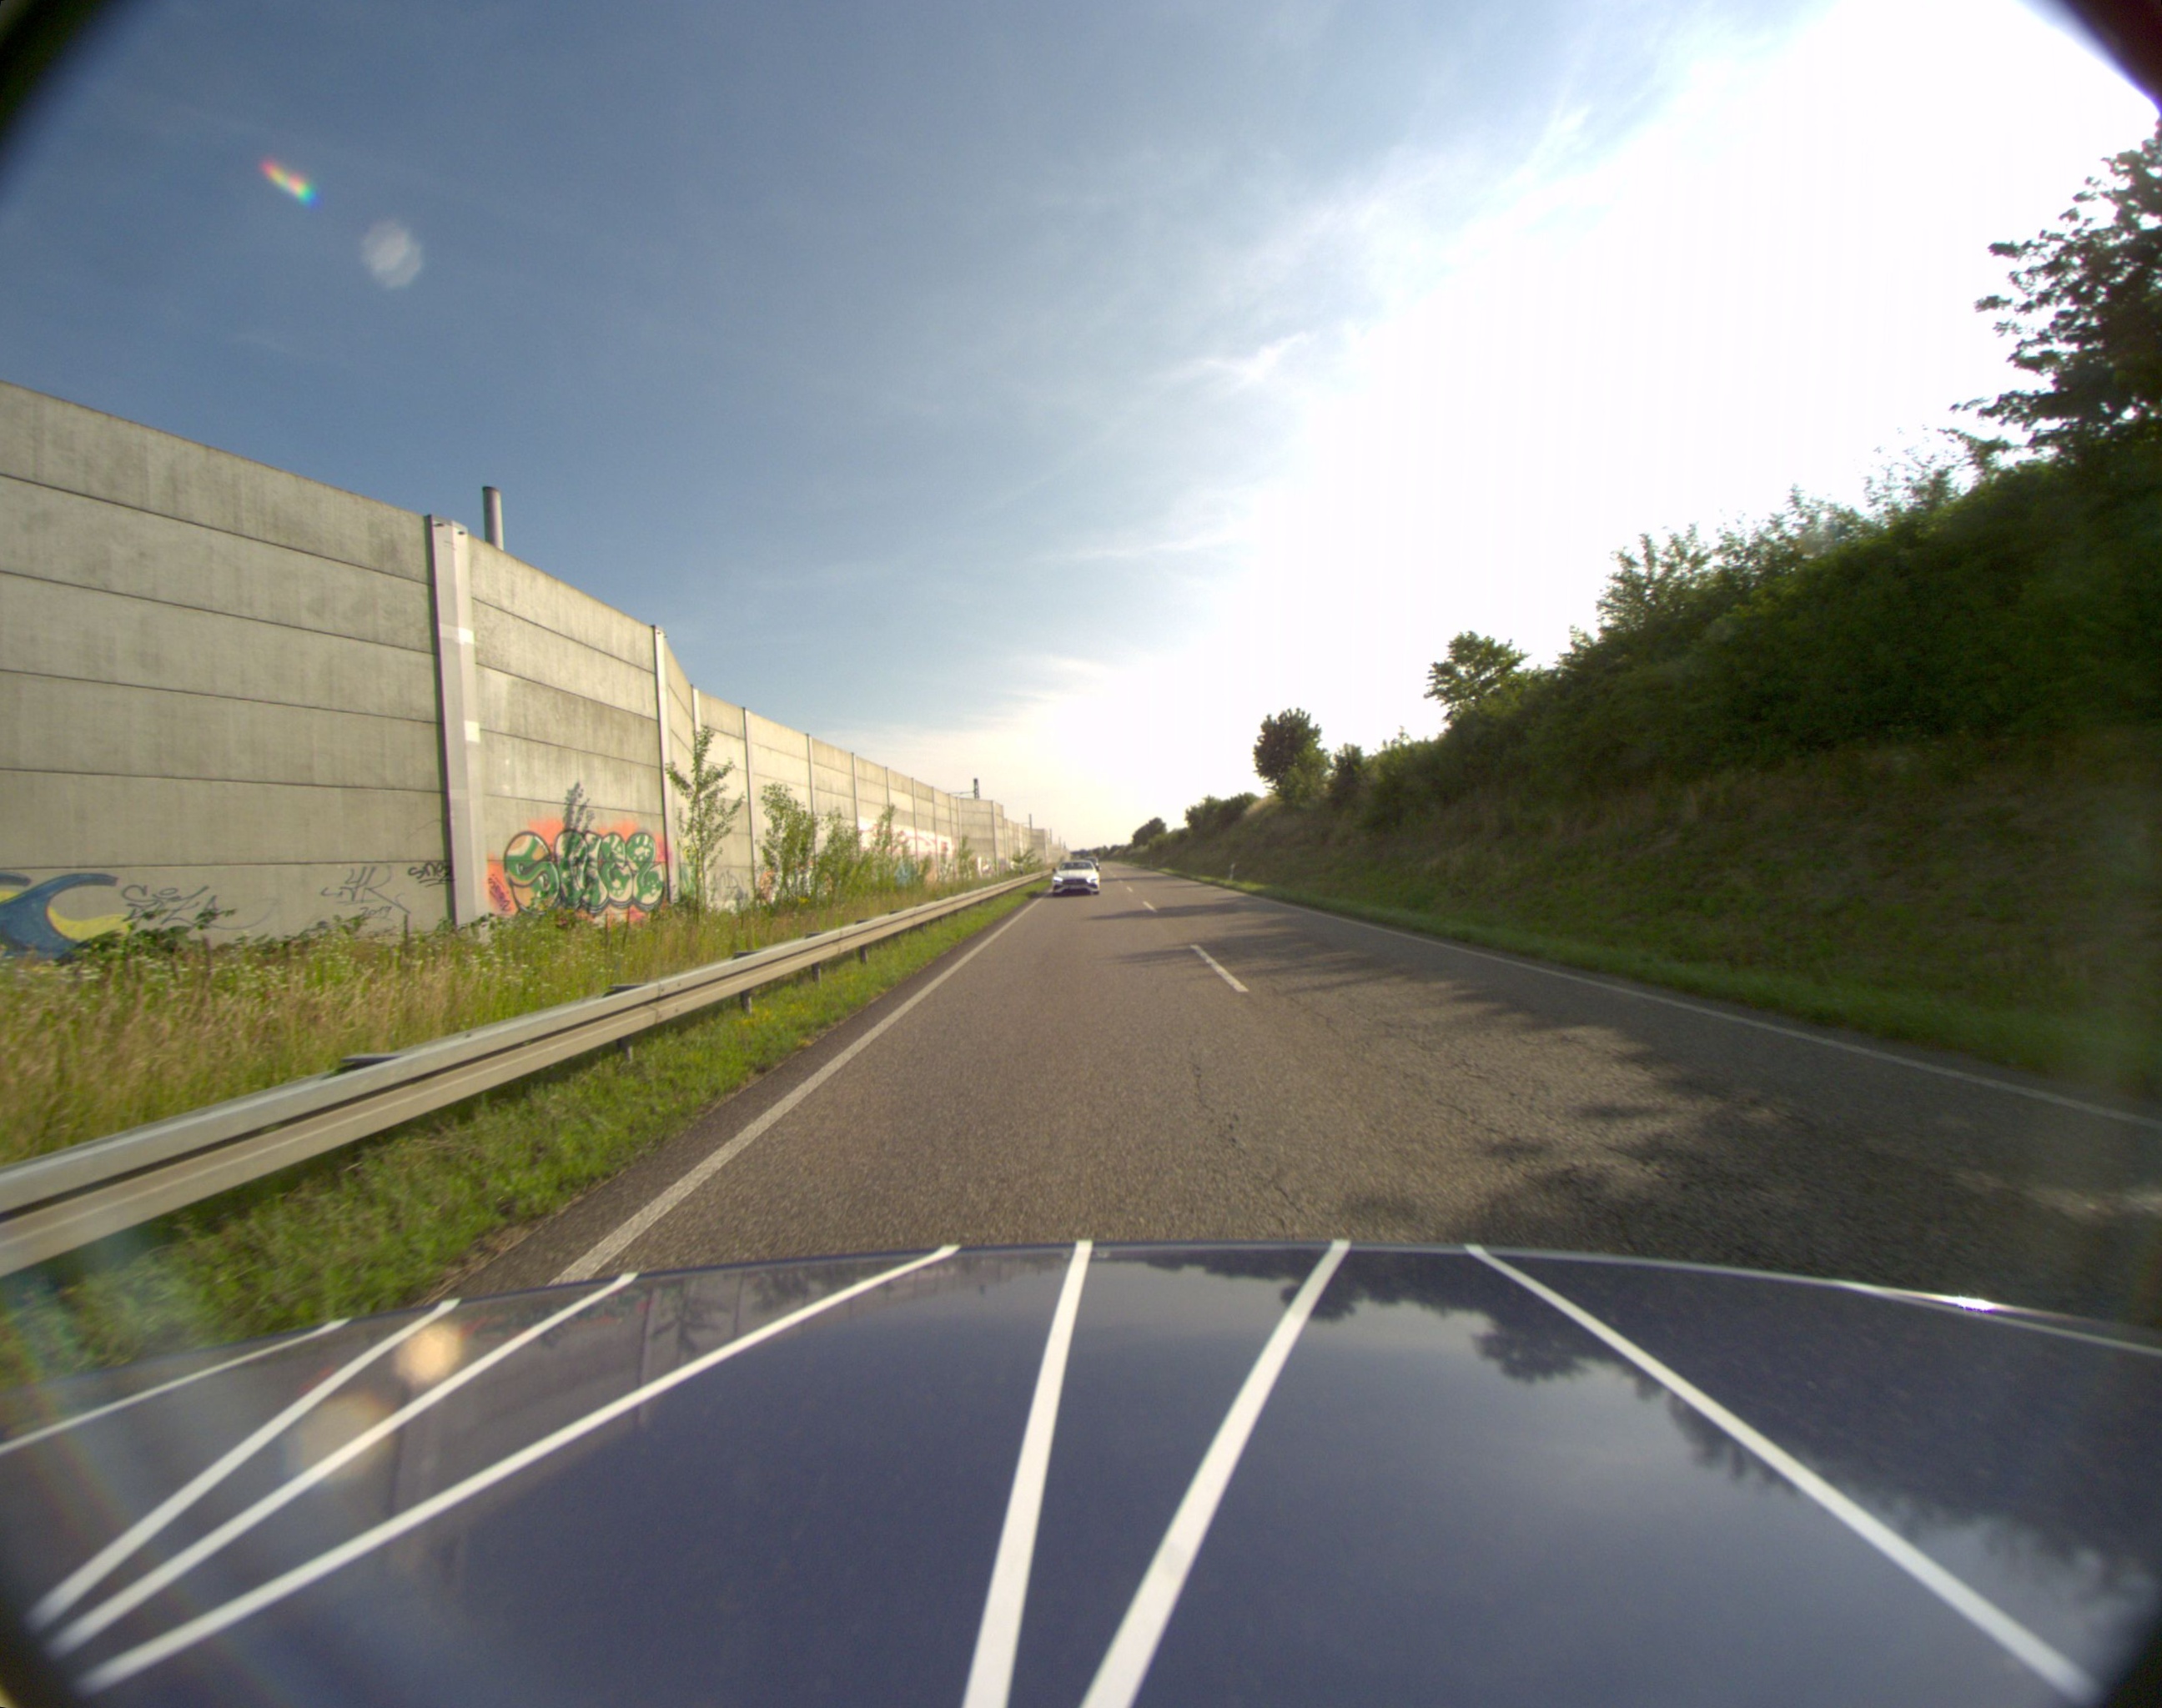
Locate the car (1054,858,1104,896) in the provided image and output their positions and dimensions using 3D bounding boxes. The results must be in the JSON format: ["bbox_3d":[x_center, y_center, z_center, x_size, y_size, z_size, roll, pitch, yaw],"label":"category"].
[{"bbox_3d":[-0.118,0.918,32.218,1.930,1.399,4.973,-1,0,-1],"label":"car"}]

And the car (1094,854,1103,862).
[{"bbox_3d":[3.777,0.898,165.405,1.998,1.746,4.000,-2,0,1],"label":"car"}]

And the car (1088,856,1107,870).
[{"bbox_3d":[1.740,0.912,79.115,1.929,1.399,4.974,-1,0,2],"label":"car"}]
